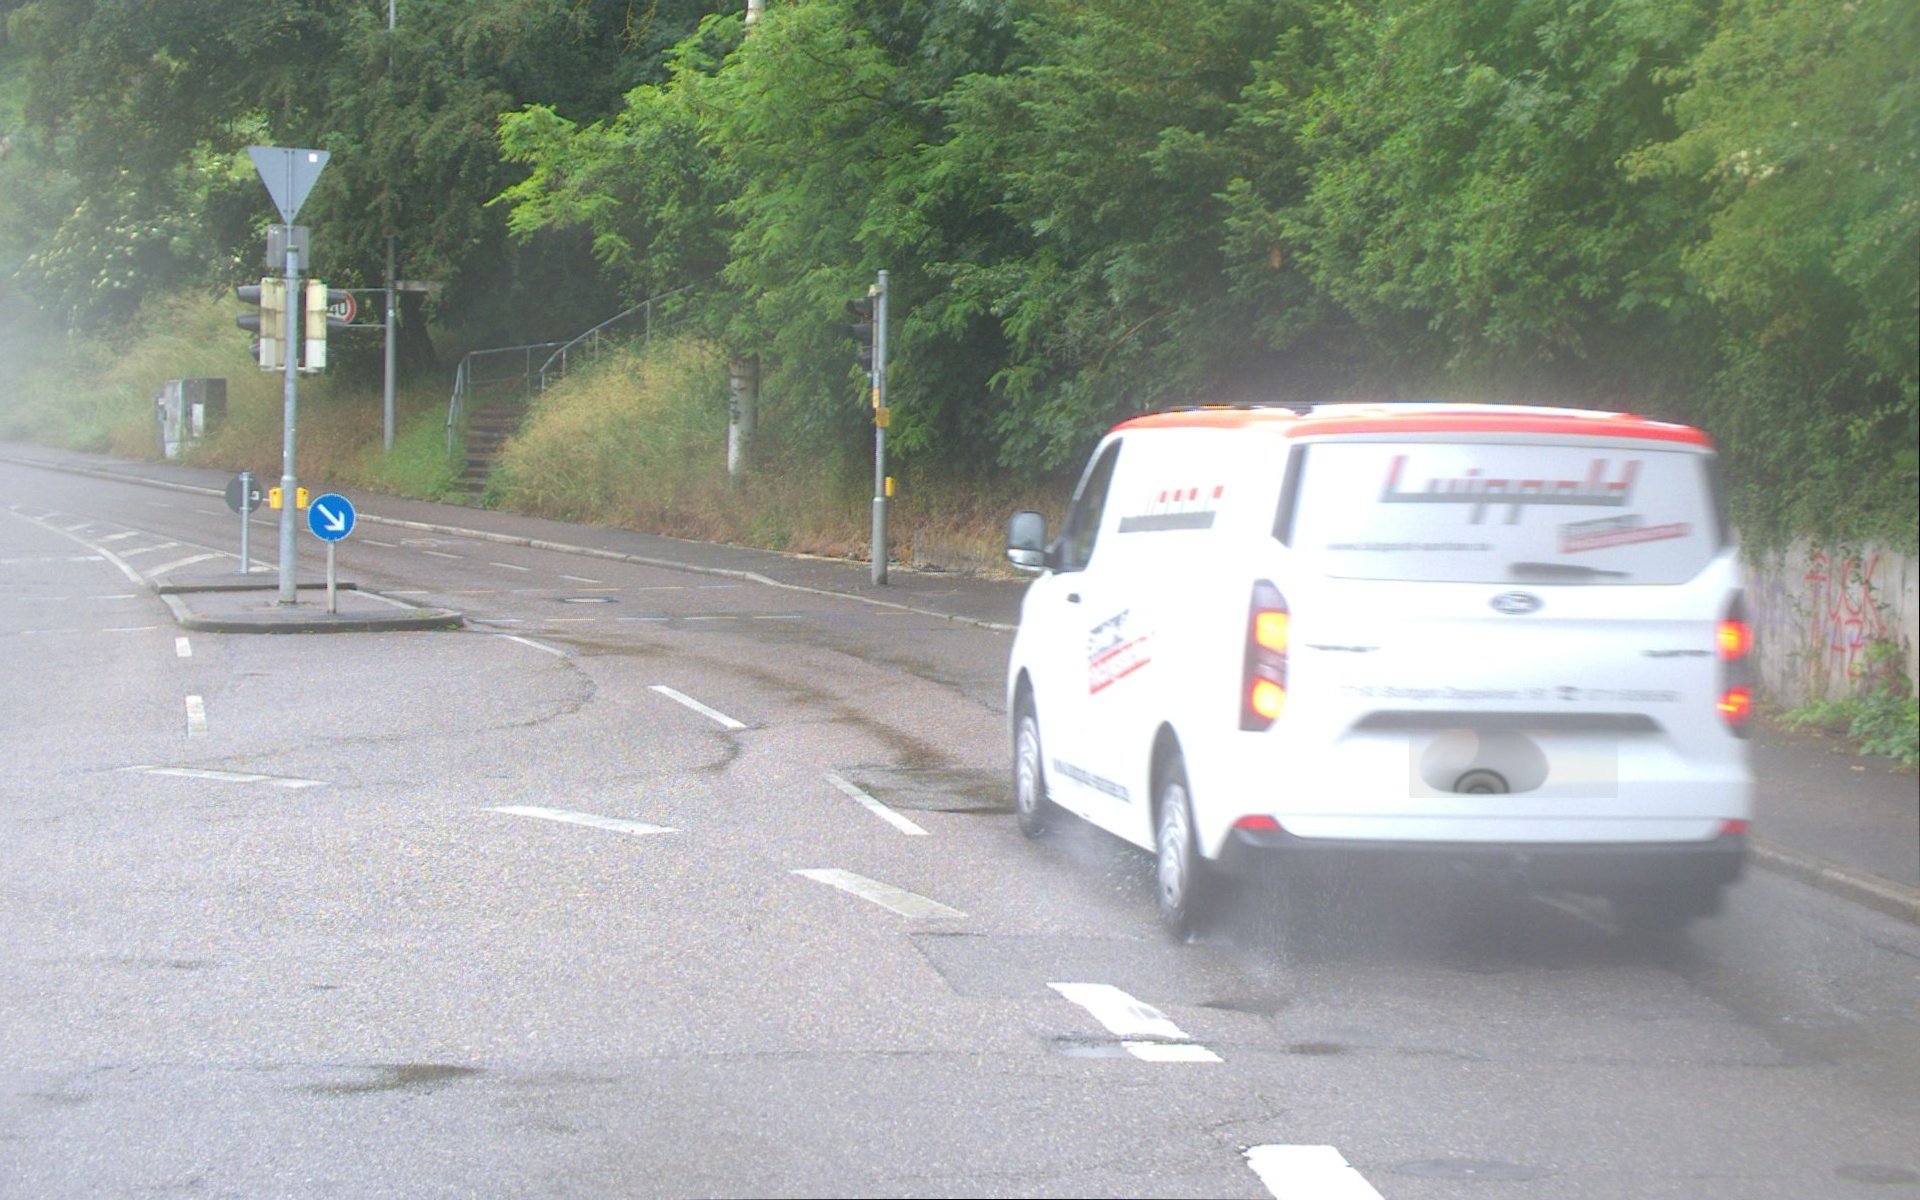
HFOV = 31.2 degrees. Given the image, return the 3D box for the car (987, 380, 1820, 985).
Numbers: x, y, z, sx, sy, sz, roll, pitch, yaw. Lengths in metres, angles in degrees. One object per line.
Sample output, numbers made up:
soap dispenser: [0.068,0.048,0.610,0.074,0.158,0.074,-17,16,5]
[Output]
car: [1.516,0.183,13.869,2.065,1.999,4.816,0,2,-9]
